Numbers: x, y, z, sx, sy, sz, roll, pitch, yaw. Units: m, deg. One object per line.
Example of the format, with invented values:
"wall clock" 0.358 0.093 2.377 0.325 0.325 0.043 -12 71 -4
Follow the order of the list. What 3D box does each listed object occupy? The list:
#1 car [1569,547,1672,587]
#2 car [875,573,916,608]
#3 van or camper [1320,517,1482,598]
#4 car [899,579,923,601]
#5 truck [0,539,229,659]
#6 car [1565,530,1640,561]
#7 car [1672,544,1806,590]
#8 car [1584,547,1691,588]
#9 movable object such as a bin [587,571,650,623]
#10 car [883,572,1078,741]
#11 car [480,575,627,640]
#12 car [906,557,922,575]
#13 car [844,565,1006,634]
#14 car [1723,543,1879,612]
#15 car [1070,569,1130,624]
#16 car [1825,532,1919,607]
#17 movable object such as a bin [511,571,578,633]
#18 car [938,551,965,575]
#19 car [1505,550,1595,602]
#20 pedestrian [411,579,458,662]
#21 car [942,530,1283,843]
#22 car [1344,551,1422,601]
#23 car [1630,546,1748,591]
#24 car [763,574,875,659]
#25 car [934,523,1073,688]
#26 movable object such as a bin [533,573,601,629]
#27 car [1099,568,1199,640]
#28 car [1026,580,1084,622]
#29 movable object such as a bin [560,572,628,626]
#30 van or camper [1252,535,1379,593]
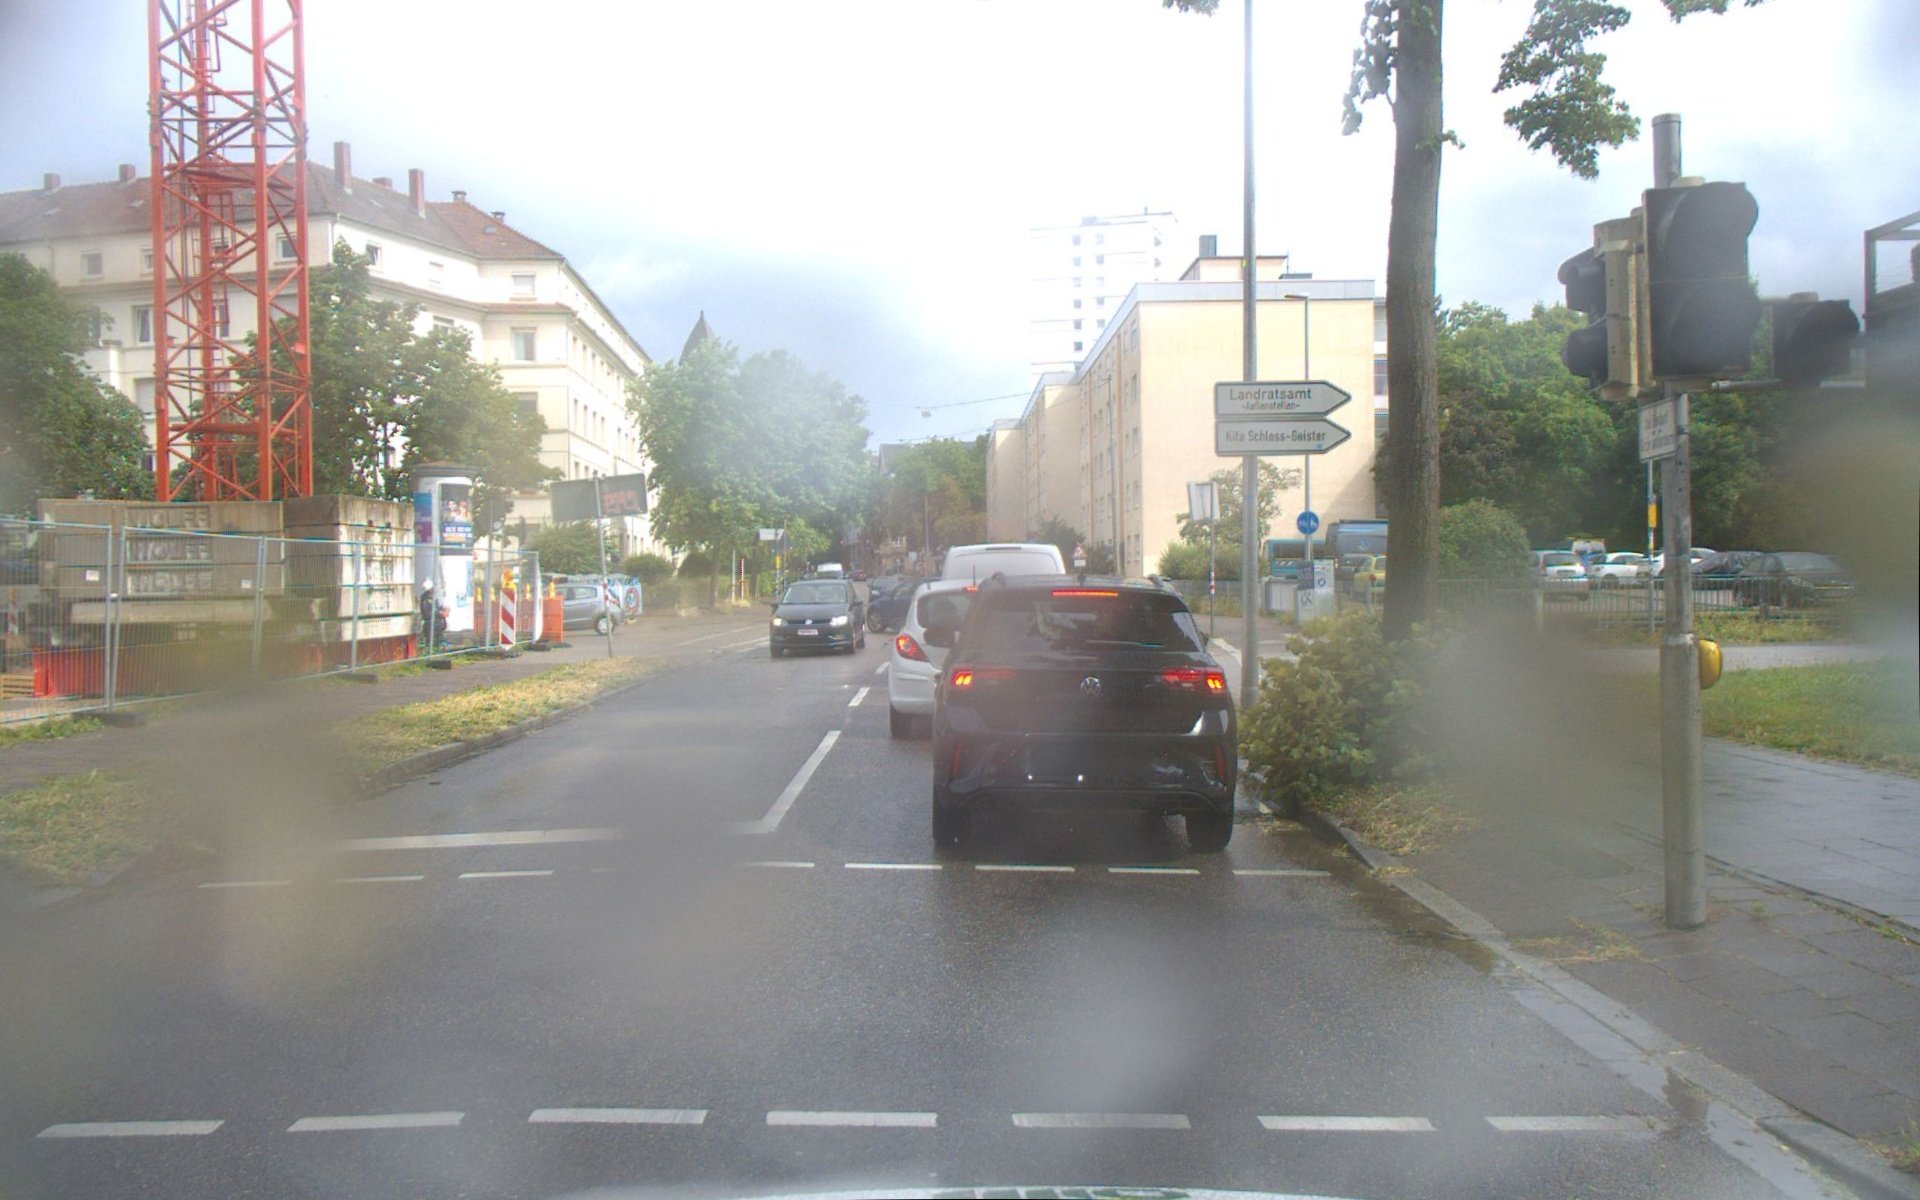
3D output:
"car" 27.271 -1.375 68.378 3.590 1.512 1.640 -2 1 3
"car" -3.254 -0.500 84.182 1.803 1.636 4.001 -3 1 1
"van or camper" 14.812 -1.411 55.757 4.895 2.599 2.175 -1 0 1
"car" -3.878 -0.818 132.023 1.705 1.636 3.676 -3 1 1
"truck" -27.150 0.013 49.003 9.603 3.239 3.796 -2 1 13
"car" 31.883 -2.700 82.130 3.158 1.422 1.509 -2 1 3
"car" 27.442 -1.170 58.329 3.892 1.490 1.673 -2 1 1
"car" 27.038 -1.307 66.036 3.590 1.512 1.640 -2 1 3
"movable object such as a bin" -11.569 -0.115 56.059 1.505 1.691 1.460 -1 1 18
"car" 0.175 0.522 17.225 1.776 1.529 4.000 1 0 0
"car" -11.506 0.218 46.818 3.923 1.665 1.887 -2 -1 -16
"car" -5.086 -3.754 182.669 1.632 1.869 3.998 -2 1 -3
"car" -0.976 -0.029 43.323 1.806 1.612 4.380 -5 3 -41
"car" 20.461 -0.557 40.454 1.790 1.553 4.426 -2 1 4
"car" 4.352 -0.077 51.870 1.720 1.554 4.001 2 -1 3
"car" 22.844 -0.768 40.002 1.814 1.708 4.426 -2 1 5
"movable object such as a bin" -12.905 0.049 51.425 1.505 1.856 1.264 -1 1 19
"car" -0.612 -2.648 119.730 1.803 1.636 3.676 -3 1 1
"car" 18.374 -0.757 51.651 1.614 1.512 3.720 -2 1 2
"pedestrian" -10.651 0.406 33.511 0.716 1.658 0.675 1 0 -38
"car" 0.811 0.465 11.017 1.835 1.674 4.061 1 0 -1
"car" 13.286 -0.761 52.099 1.577 1.474 3.417 -2 1 1
"car" 26.733 -1.167 60.696 3.590 1.512 1.640 -2 1 3
"car" -2.729 0.307 32.839 1.776 1.567 3.982 0 0 1
"car" 0.617 0.075 23.674 1.798 2.139 4.001 1 0 1
"movable object such as a bin" -12.569 0.021 52.970 1.505 1.685 1.529 -1 1 18
"car" 4.559 0.048 40.468 1.738 1.566 4.377 -3 1 -2
"car" 3.591 0.010 63.170 1.714 1.534 4.109 -1 1 -4
"movable object such as a bin" -12.054 -0.036 54.537 1.505 1.703 1.667 -1 1 18
"van or camper" 14.163 -1.434 66.158 4.660 2.168 2.323 -1 1 3
